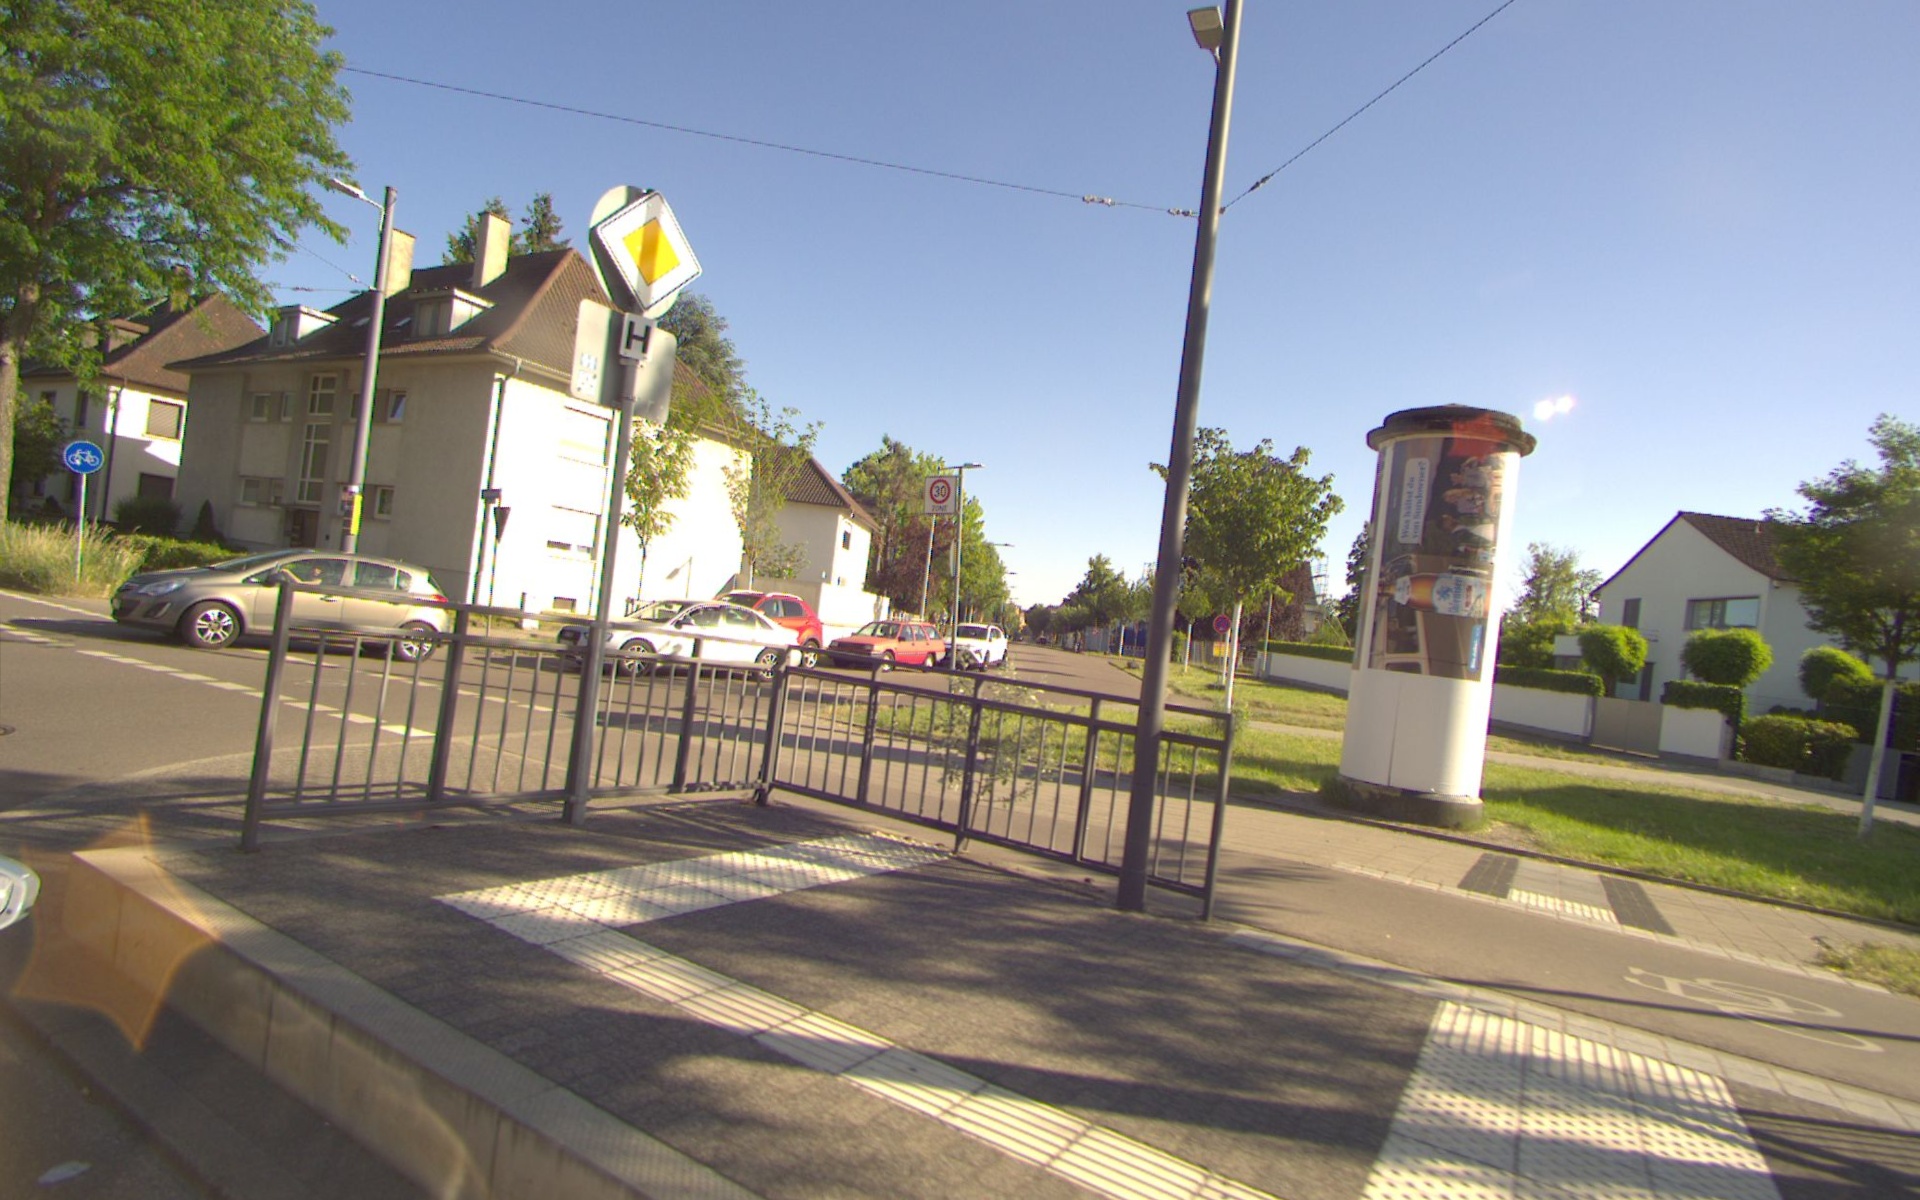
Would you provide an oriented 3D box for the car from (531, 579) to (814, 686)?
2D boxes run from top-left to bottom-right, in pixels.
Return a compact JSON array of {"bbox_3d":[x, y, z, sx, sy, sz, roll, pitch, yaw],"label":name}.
[{"bbox_3d":[-5.147,0.650,18.515,1.956,1.483,4.595,4,-3,43],"label":"car"}]

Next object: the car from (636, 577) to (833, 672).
[{"bbox_3d":[-5.004,0.615,22.938,1.948,1.661,4.172,7,-2,30],"label":"car"}]

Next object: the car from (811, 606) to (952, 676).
[{"bbox_3d":[-2.095,1.201,28.059,1.947,1.525,4.175,7,-2,26],"label":"car"}]

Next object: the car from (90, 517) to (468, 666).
[{"bbox_3d":[-9.494,-0.064,14.268,1.954,1.525,3.984,6,-2,41],"label":"car"}]

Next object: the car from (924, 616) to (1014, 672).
[{"bbox_3d":[0.377,1.521,33.973,1.944,1.525,4.181,7,-2,14],"label":"car"}]

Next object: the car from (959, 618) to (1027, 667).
[{"bbox_3d":[1.383,1.743,40.221,1.962,1.591,4.007,8,-3,10],"label":"car"}]
